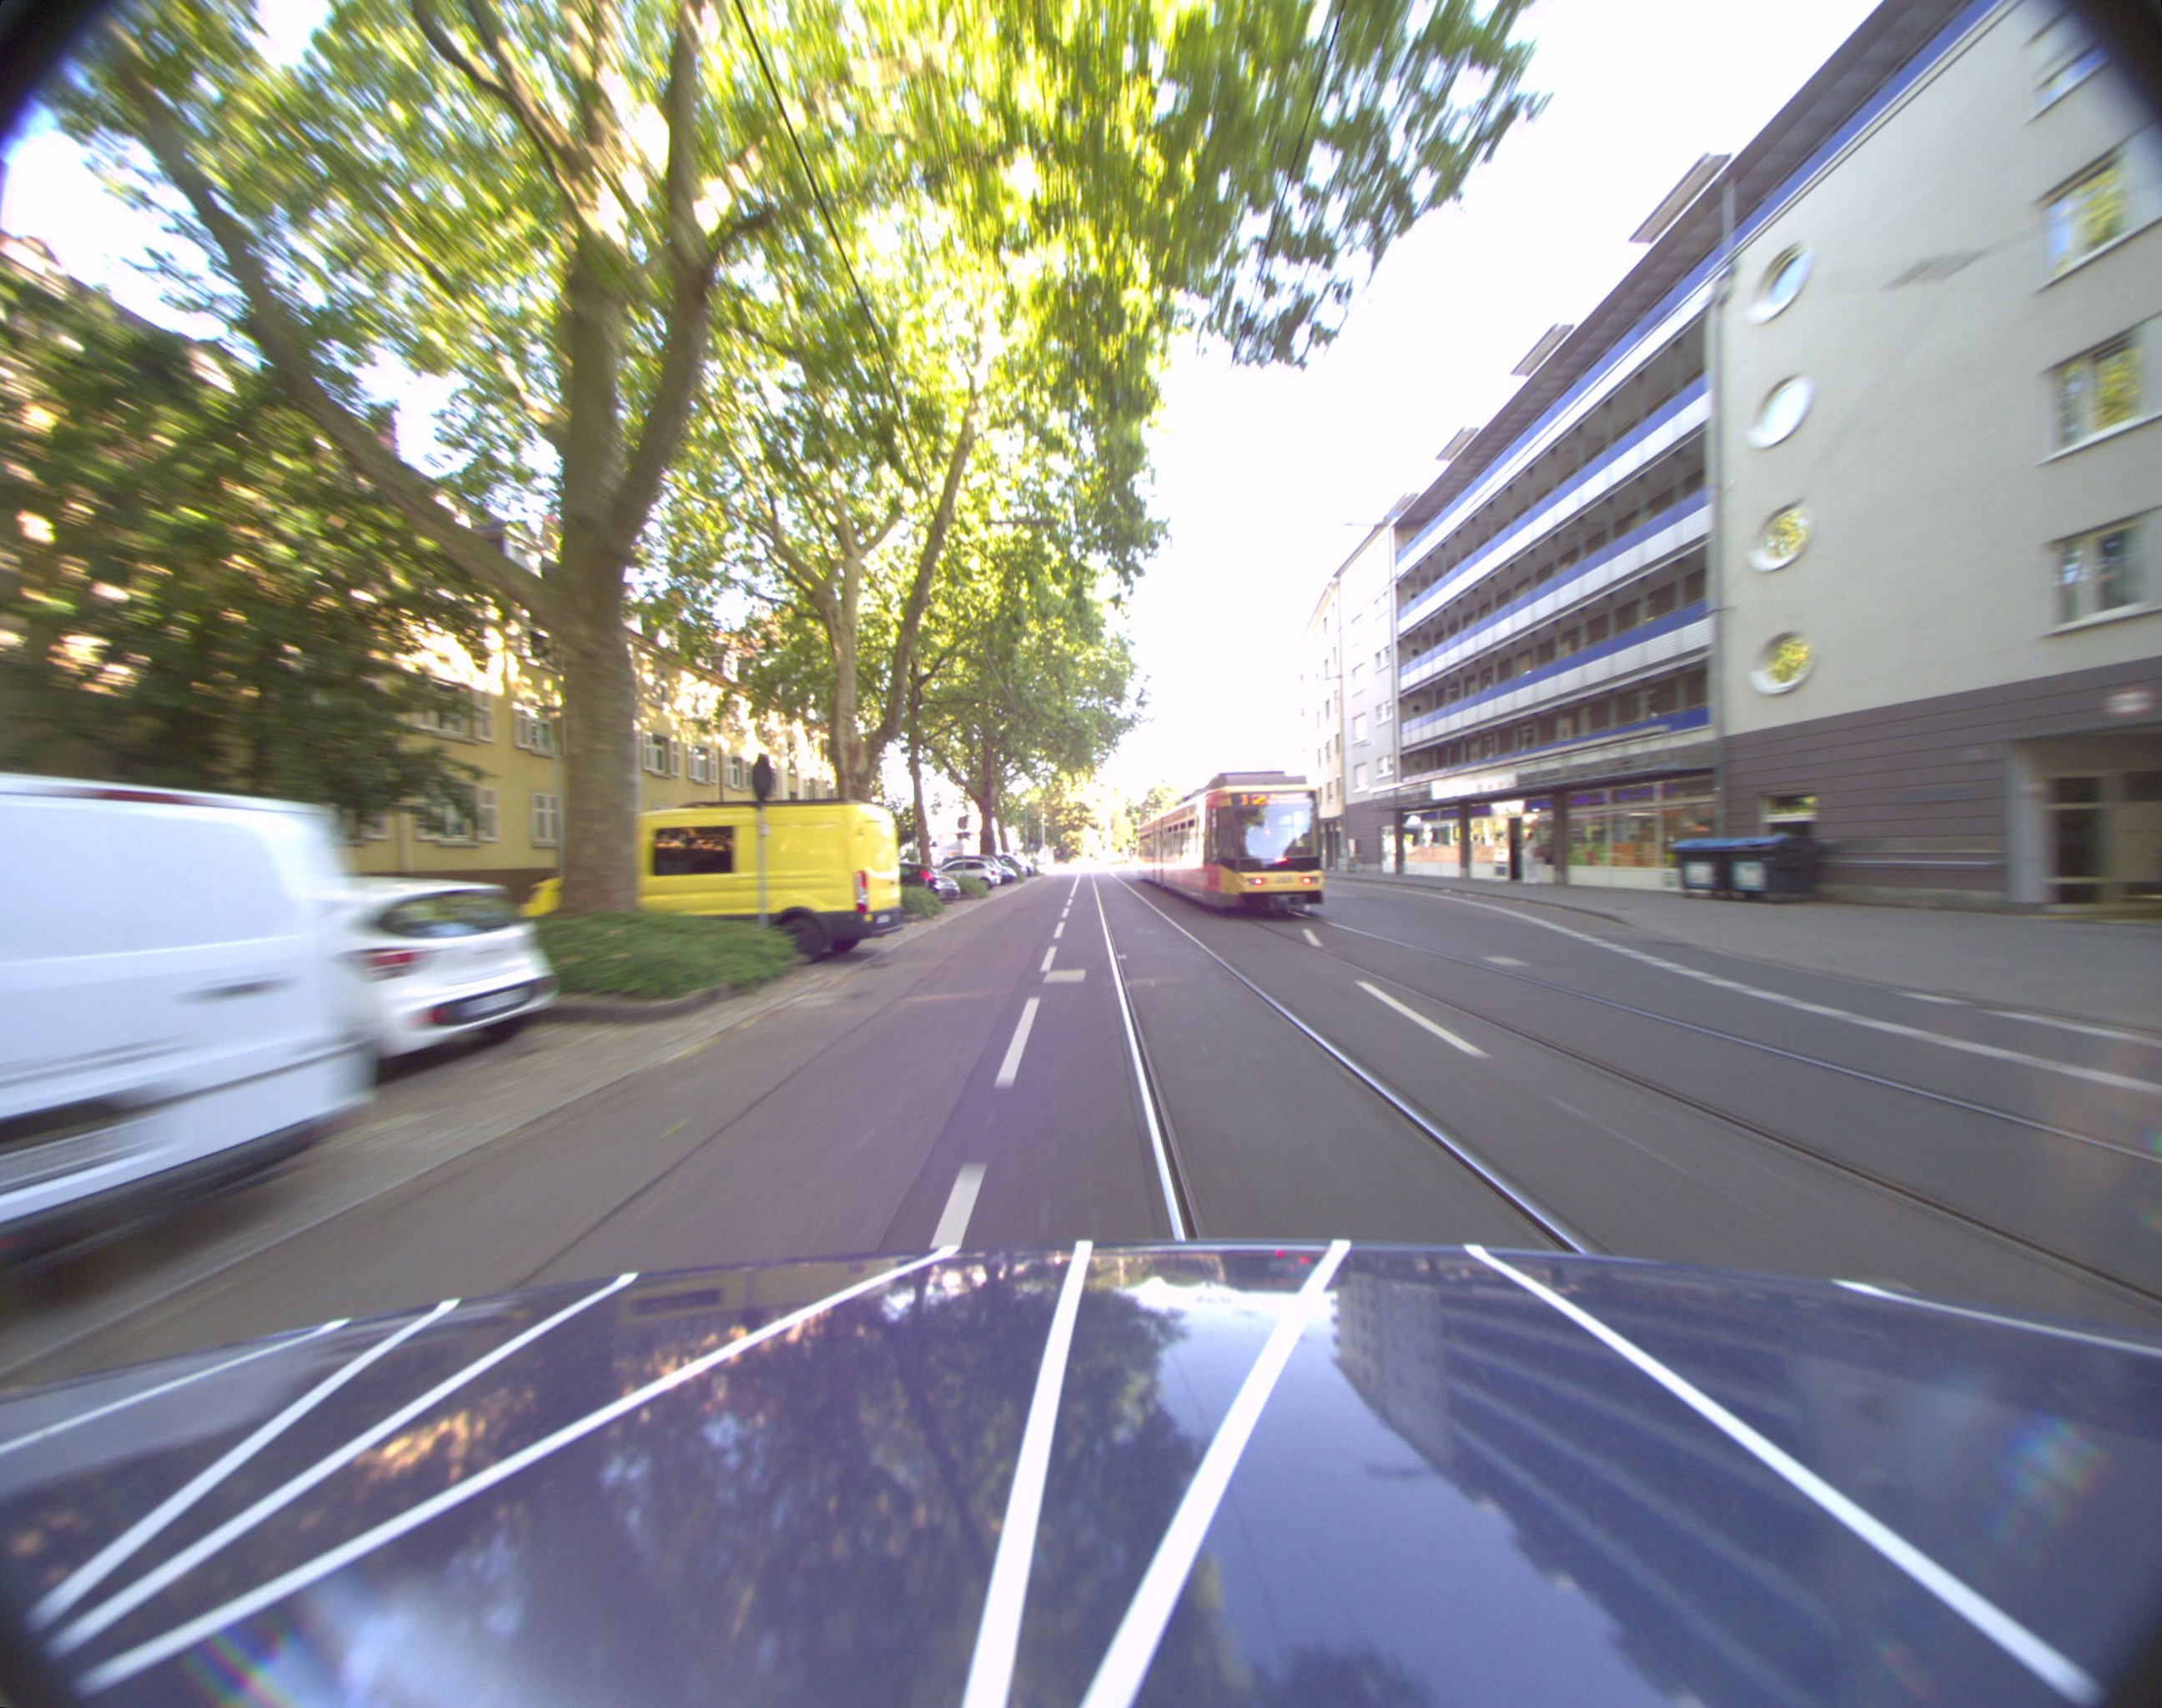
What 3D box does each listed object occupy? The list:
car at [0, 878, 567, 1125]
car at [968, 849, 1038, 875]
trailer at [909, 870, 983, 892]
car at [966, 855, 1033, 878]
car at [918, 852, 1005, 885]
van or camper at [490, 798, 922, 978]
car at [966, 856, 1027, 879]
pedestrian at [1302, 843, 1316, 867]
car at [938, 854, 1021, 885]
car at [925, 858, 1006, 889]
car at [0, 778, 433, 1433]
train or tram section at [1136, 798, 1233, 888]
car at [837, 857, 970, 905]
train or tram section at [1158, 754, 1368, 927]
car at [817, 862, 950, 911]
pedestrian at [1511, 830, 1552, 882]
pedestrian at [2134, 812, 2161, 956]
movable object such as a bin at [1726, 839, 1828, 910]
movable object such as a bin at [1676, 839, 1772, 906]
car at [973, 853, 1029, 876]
[{"bbox_3d":[-6.307,1.025,5.965,3.312,1.531,1.697,-2,1,-1],"label":"car"},{"bbox_3d":[-5.858,0.598,57.550,5.126,1.845,1.914,0,1,0],"label":"car"},{"bbox_3d":[-6.209,1.239,35.039,3.046,0.898,1.437,0,1,7],"label":"trailer"},{"bbox_3d":[-5.599,0.849,52.463,4.411,1.514,1.818,0,0,1],"label":"car"},{"bbox_3d":[-6.375,0.751,40.908,4.318,1.721,1.841,0,0,4],"label":"car"},{"bbox_3d":[-5.894,0.507,12.538,5.939,2.614,2.270,-1,2,3],"label":"van or camper"},{"bbox_3d":[-5.487,0.857,49.683,3.891,1.488,1.741,0,0,-2],"label":"car"},{"bbox_3d":[16.100,0.073,53.653,0.716,1.664,0.904,-1,1,5],"label":"pedestrian"},{"bbox_3d":[-5.699,0.853,43.129,4.436,1.648,1.908,0,1,-1],"label":"car"},{"bbox_3d":[-5.699,0.944,37.636,3.660,1.416,1.866,1,0,2],"label":"car"},{"bbox_3d":[-5.732,0.807,2.817,4.847,2.001,2.063,-1,0,0],"label":"car"},{"bbox_3d":[4.535,-0.466,36.468,2.916,3.466,13.368,-1,0,1],"label":"train or tram section"},{"bbox_3d":[-5.993,0.905,26.016,4.087,1.541,1.830,0,1,0],"label":"car"},{"bbox_3d":[4.450,-0.327,22.663,2.916,3.466,14.196,-1,0,1],"label":"train or tram section"},{"bbox_3d":[-6.006,0.978,23.431,3.663,1.418,1.737,0,1,-3],"label":"car"},{"bbox_3d":[15.409,0.054,26.005,0.789,1.703,0.820,-4,1,0],"label":"pedestrian"},{"bbox_3d":[13.759,0.348,9.228,0.866,1.774,0.736,-3,1,-1],"label":"pedestrian"},{"bbox_3d":[14.830,0.417,16.225,1.059,1.442,1.210,-2,1,-3],"label":"movable object such as a bin"},{"bbox_3d":[14.739,0.410,17.457,1.142,1.442,1.213,-2,1,-3],"label":"movable object such as a bin"},{"bbox_3d":[-5.766,0.748,54.981,3.884,1.596,1.795,0,0,0],"label":"car"}]
